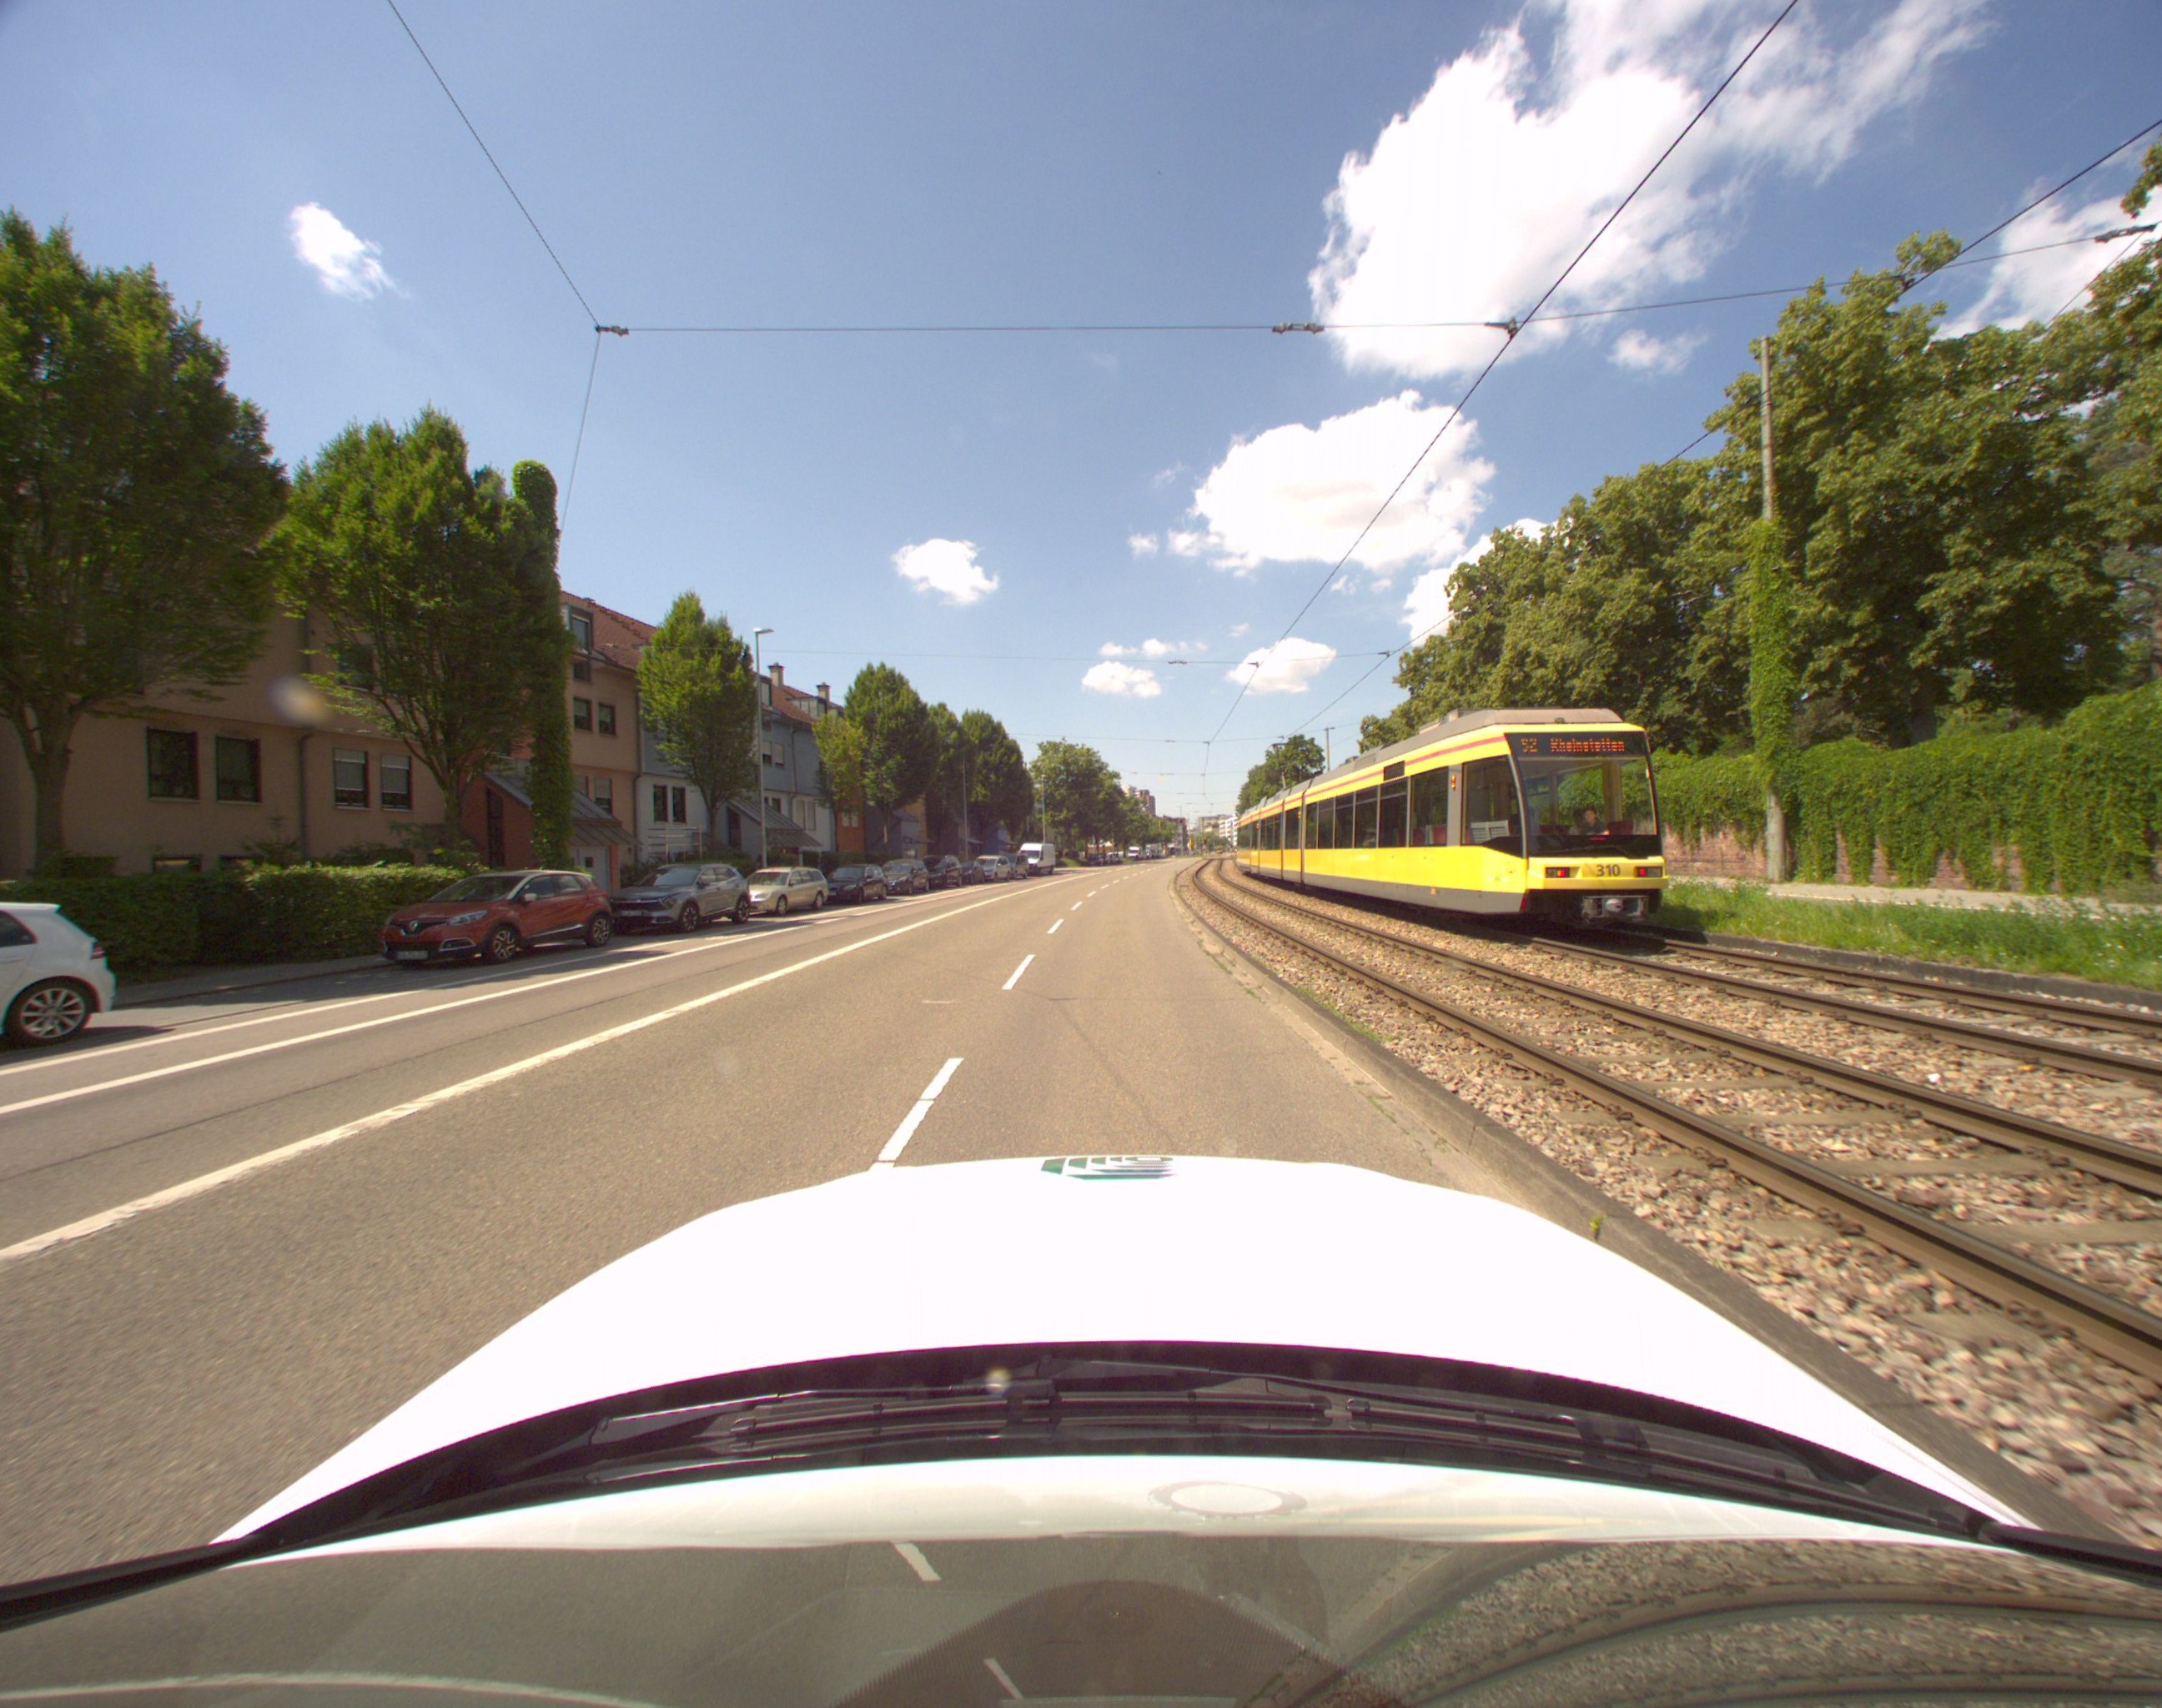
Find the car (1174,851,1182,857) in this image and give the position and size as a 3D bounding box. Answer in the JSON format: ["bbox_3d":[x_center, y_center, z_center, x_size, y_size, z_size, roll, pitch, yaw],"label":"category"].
[{"bbox_3d":[23.973,-0.052,200.301,1.764,1.460,4.205,-3,0,8],"label":"car"}]

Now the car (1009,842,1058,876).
[{"bbox_3d":[-3.864,0.353,68.130,2.309,2.651,7.056,2,1,11],"label":"car"}]

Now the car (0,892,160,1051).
[{"bbox_3d":[-10.852,1.155,6.601,1.649,1.410,4.398,-2,0,1],"label":"car"}]

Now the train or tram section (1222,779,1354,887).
[{"bbox_3d":[8.970,-0.782,38.582,2.929,3.692,20.314,-1,0,5],"label":"train or tram section"}]

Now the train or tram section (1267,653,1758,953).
[{"bbox_3d":[7.461,-0.669,19.357,2.931,3.692,18.406,-1,0,3],"label":"train or tram section"}]

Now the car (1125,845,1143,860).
[{"bbox_3d":[9.504,-0.253,145.354,2.142,2.487,6.214,1,1,12],"label":"car"}]

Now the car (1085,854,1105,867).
[{"bbox_3d":[1.739,0.787,98.232,1.764,1.455,4.816,-2,0,9],"label":"car"}]

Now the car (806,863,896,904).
[{"bbox_3d":[-9.024,1.108,32.421,1.733,1.446,4.972,0,0,6],"label":"car"}]

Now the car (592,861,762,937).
[{"bbox_3d":[-10.032,1.036,20.704,1.648,1.609,4.693,0,0,5],"label":"car"}]

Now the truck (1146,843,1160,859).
[{"bbox_3d":[15.326,-0.703,173.106,2.142,3.210,7.106,1,1,12],"label":"truck"}]

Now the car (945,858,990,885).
[{"bbox_3d":[-6.805,1.010,49.241,1.590,1.471,4.096,-2,0,7],"label":"car"}]

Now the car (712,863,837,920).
[{"bbox_3d":[-9.741,1.135,26.380,1.647,1.508,4.905,-2,0,7],"label":"car"}]

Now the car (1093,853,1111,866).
[{"bbox_3d":[2.776,0.650,106.027,1.764,1.604,4.648,-1,0,9],"label":"car"}]

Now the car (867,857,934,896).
[{"bbox_3d":[-8.399,1.010,38.301,1.647,1.617,4.294,-2,0,7],"label":"car"}]

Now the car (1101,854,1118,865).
[{"bbox_3d":[3.908,0.753,111.343,1.764,1.373,4.708,0,0,9],"label":"car"}]

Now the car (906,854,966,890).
[{"bbox_3d":[-7.651,0.891,43.476,1.741,1.716,4.898,-2,0,7],"label":"car"}]

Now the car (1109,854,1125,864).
[{"bbox_3d":[5.229,0.727,117.808,1.764,1.481,4.059,0,0,10],"label":"car"}]

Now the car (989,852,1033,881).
[{"bbox_3d":[-5.060,0.856,59.643,1.795,1.895,5.376,-2,0,9],"label":"car"}]

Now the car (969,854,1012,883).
[{"bbox_3d":[-5.949,0.897,54.176,1.707,1.752,4.914,-2,0,7],"label":"car"}]

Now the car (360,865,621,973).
[{"bbox_3d":[-10.553,1.057,15.014,1.649,1.609,4.175,-2,0,1],"label":"car"}]
